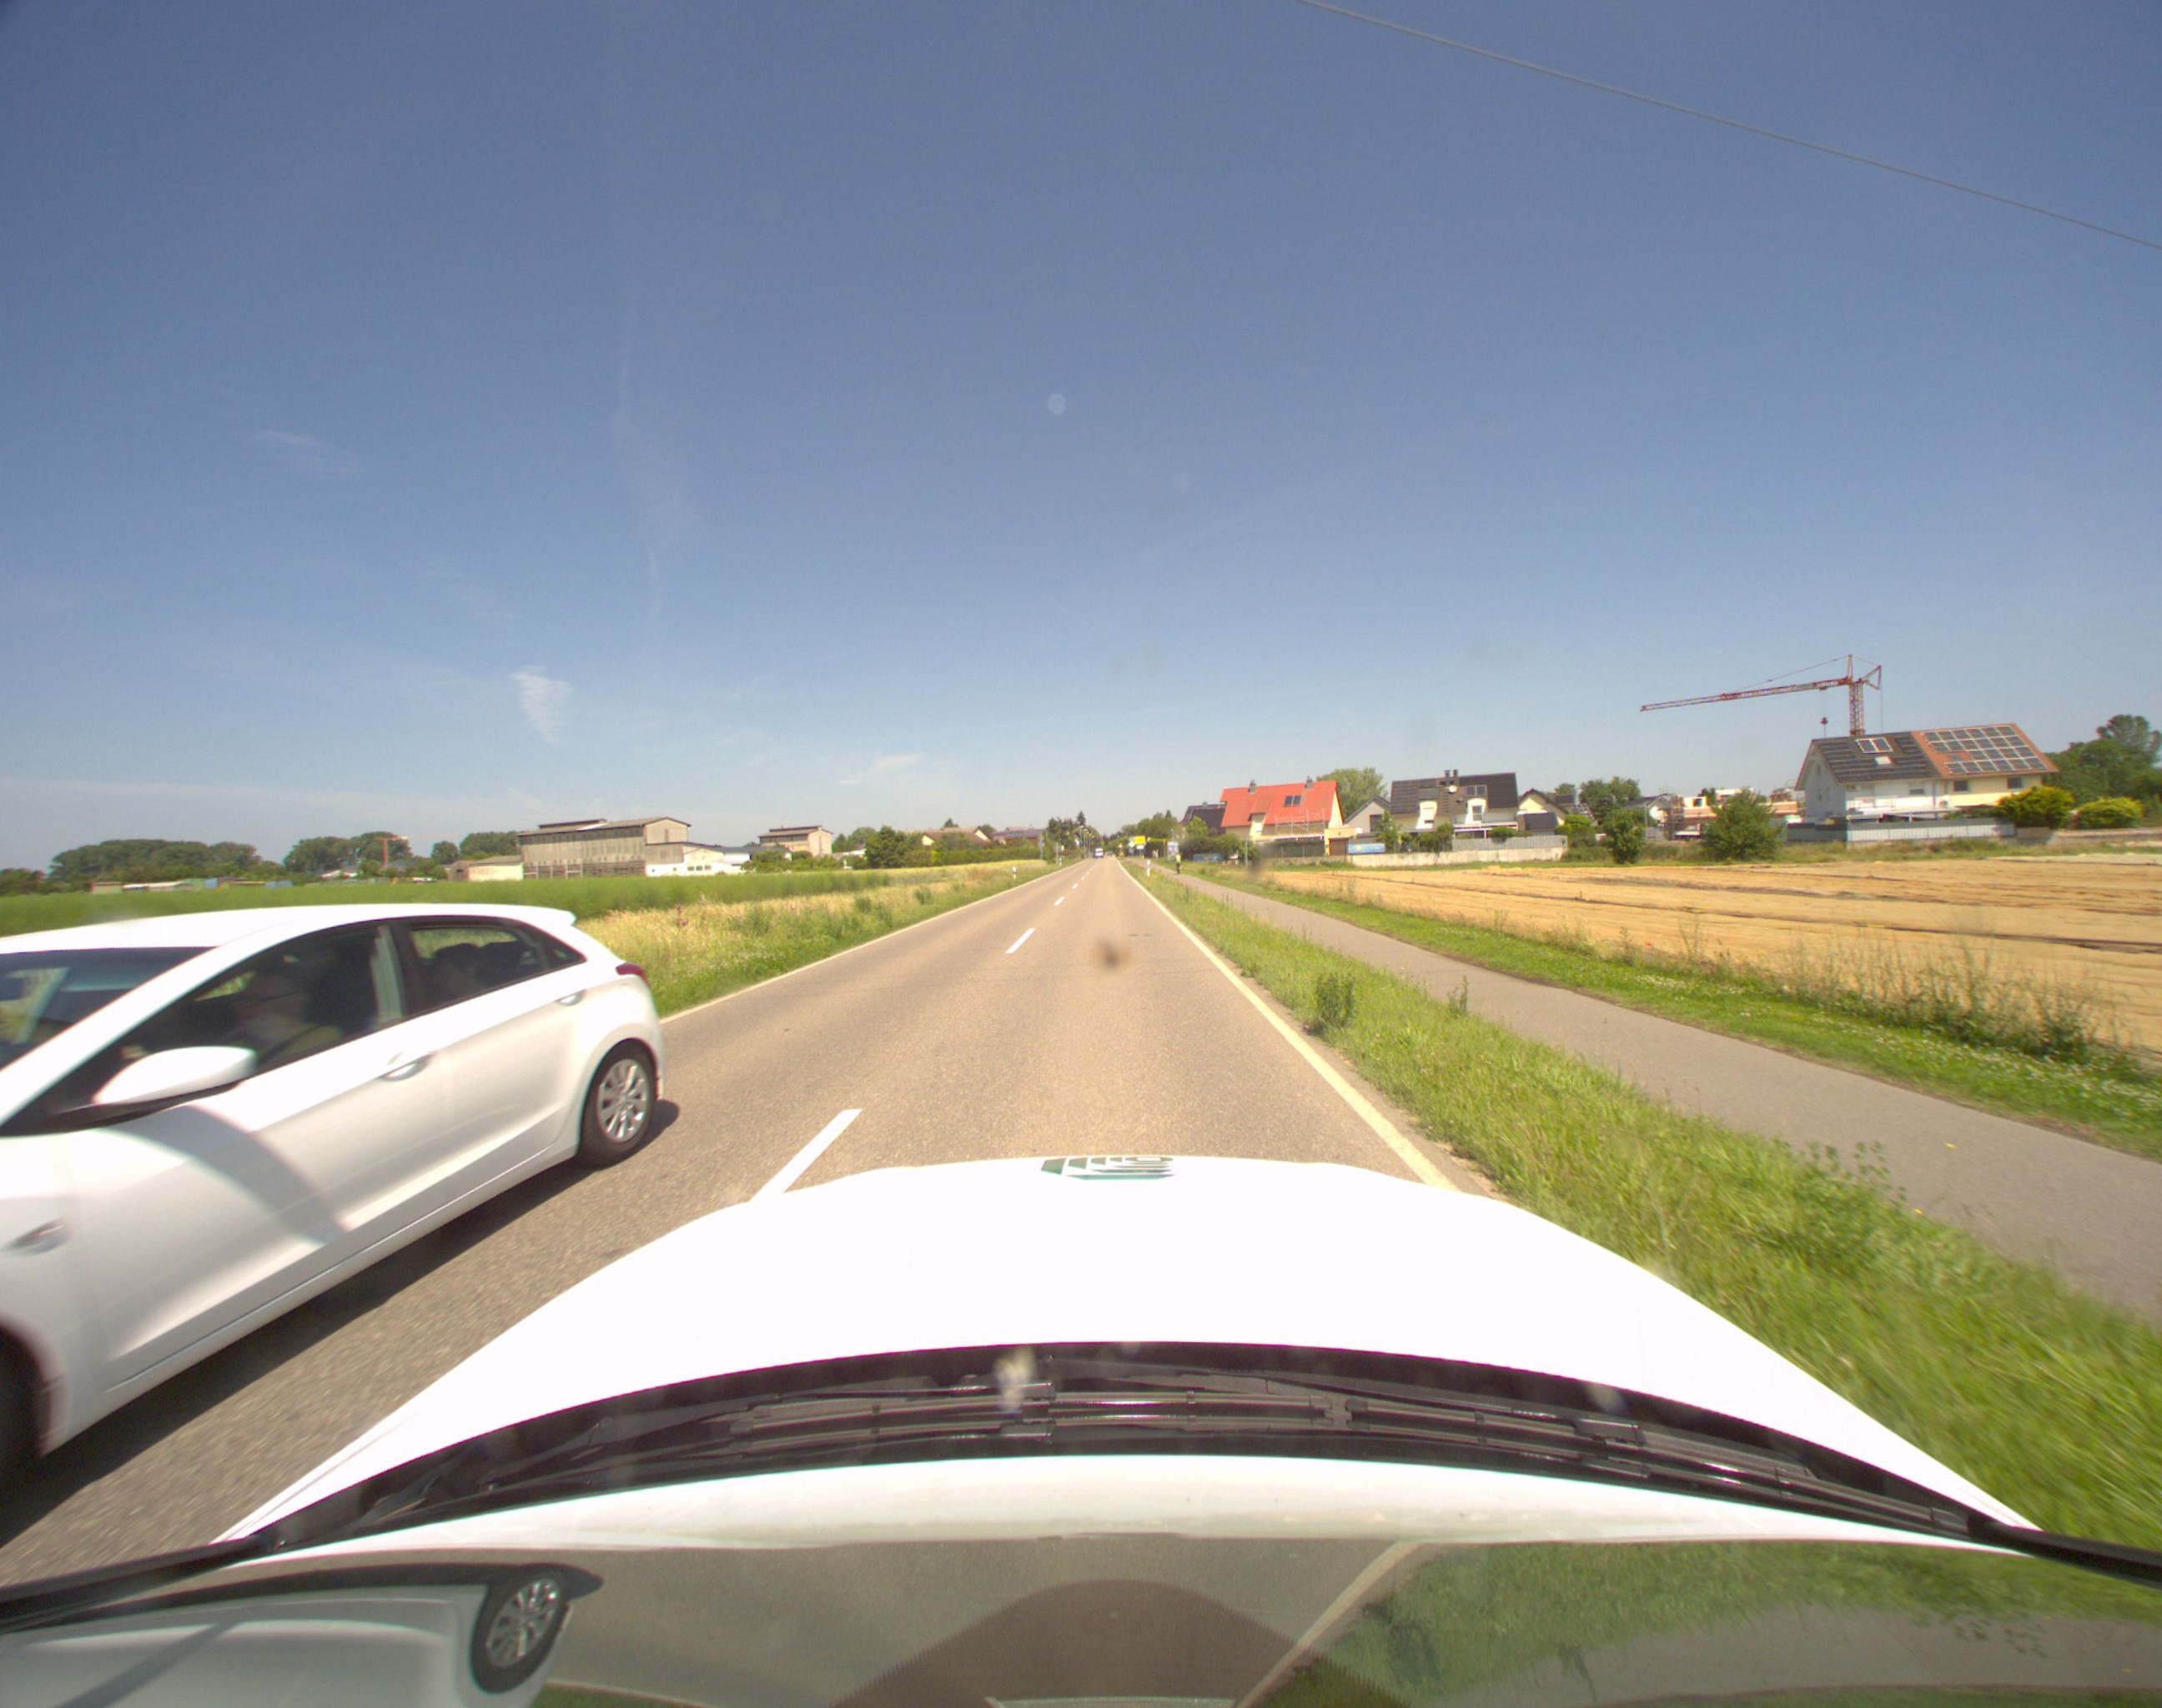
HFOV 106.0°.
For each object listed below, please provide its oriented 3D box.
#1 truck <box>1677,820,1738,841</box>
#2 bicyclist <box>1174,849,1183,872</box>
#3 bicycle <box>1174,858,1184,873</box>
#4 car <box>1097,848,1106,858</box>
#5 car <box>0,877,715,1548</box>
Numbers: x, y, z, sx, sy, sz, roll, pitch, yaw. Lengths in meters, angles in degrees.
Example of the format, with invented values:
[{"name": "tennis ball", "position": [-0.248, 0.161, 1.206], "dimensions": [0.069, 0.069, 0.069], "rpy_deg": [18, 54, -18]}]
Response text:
[{"name": "truck", "position": [76.699, -2.820, 99.770], "dimensions": [5.502, 2.230, 2.228], "rpy_deg": [-3, 0, 26]}, {"name": "bicyclist", "position": [8.001, 0.546, 66.793], "dimensions": [0.642, 1.889, 0.861], "rpy_deg": [-1, 1, 1]}, {"name": "bicycle", "position": [8.010, 0.909, 66.840], "dimensions": [0.608, 1.158, 2.275], "rpy_deg": [-1, 1, 1]}, {"name": "car", "position": [5.365, -0.245, 213.953], "dimensions": [2.069, 2.542, 5.875], "rpy_deg": [-4, 0, 1]}, {"name": "car", "position": [-3.301, 0.899, 3.047], "dimensions": [1.785, 1.409, 4.187], "rpy_deg": [-3, 0, 2]}]
